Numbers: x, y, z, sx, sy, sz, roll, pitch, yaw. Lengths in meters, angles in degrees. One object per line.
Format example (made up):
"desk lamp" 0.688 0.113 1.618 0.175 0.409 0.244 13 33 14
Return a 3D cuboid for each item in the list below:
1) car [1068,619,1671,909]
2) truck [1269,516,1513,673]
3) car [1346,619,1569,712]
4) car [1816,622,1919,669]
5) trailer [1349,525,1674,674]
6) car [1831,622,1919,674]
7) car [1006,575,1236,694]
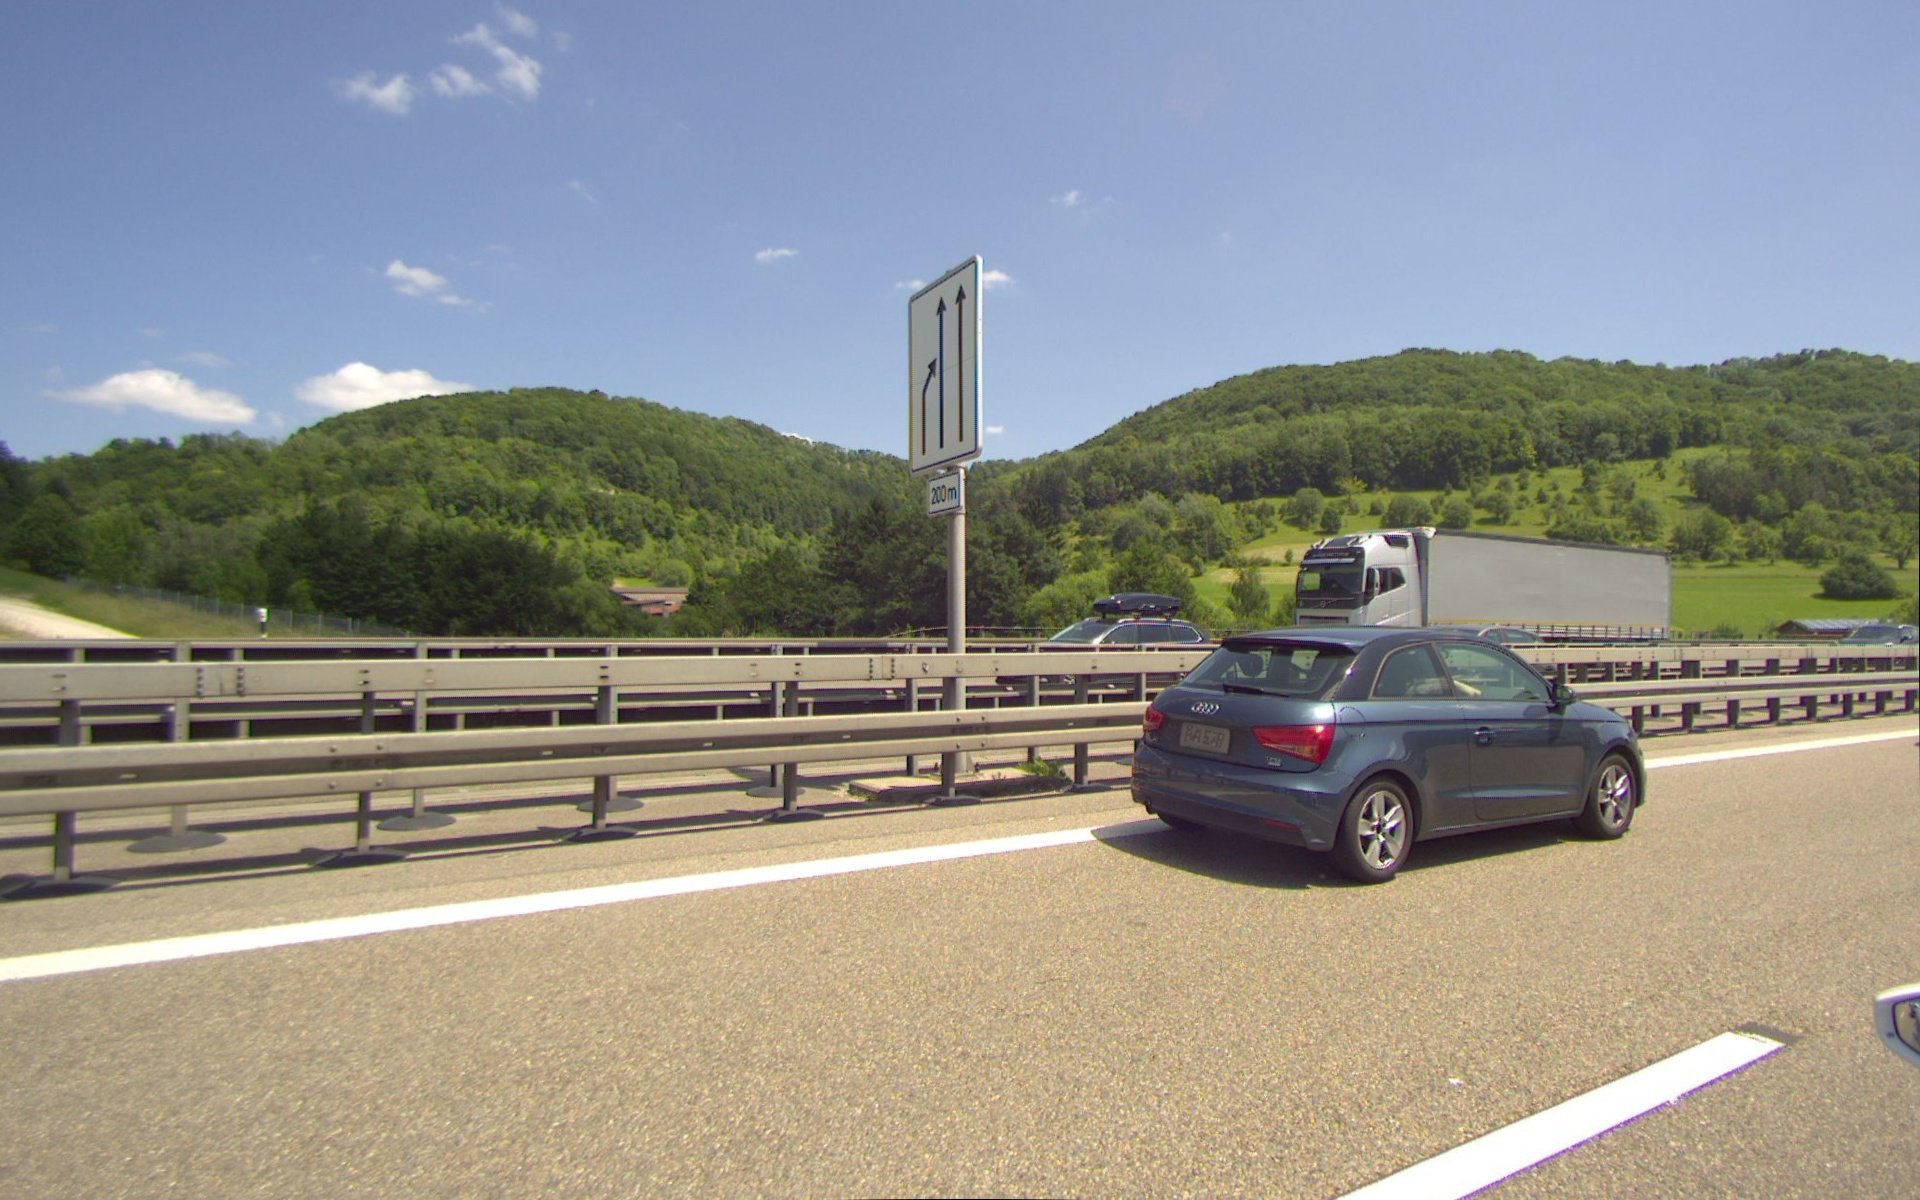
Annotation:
"car" 2.812 0.858 6.682 3.954 1.407 1.680 1 -1 -31
"truck" 12.930 -0.062 30.029 6.874 4.203 3.262 2 0 -31
"car" 9.088 1.134 18.284 3.977 1.504 1.759 1 -1 -31
"car" 33.898 1.669 37.335 4.304 1.639 1.860 1 -1 -30
"trailer" 18.623 0.152 33.387 12.846 4.260 3.232 2 0 -30
"car" 35.224 1.819 38.154 4.226 1.816 1.984 2 0 -30
"car" 3.211 0.670 19.904 4.229 2.146 1.878 1 0 -28
